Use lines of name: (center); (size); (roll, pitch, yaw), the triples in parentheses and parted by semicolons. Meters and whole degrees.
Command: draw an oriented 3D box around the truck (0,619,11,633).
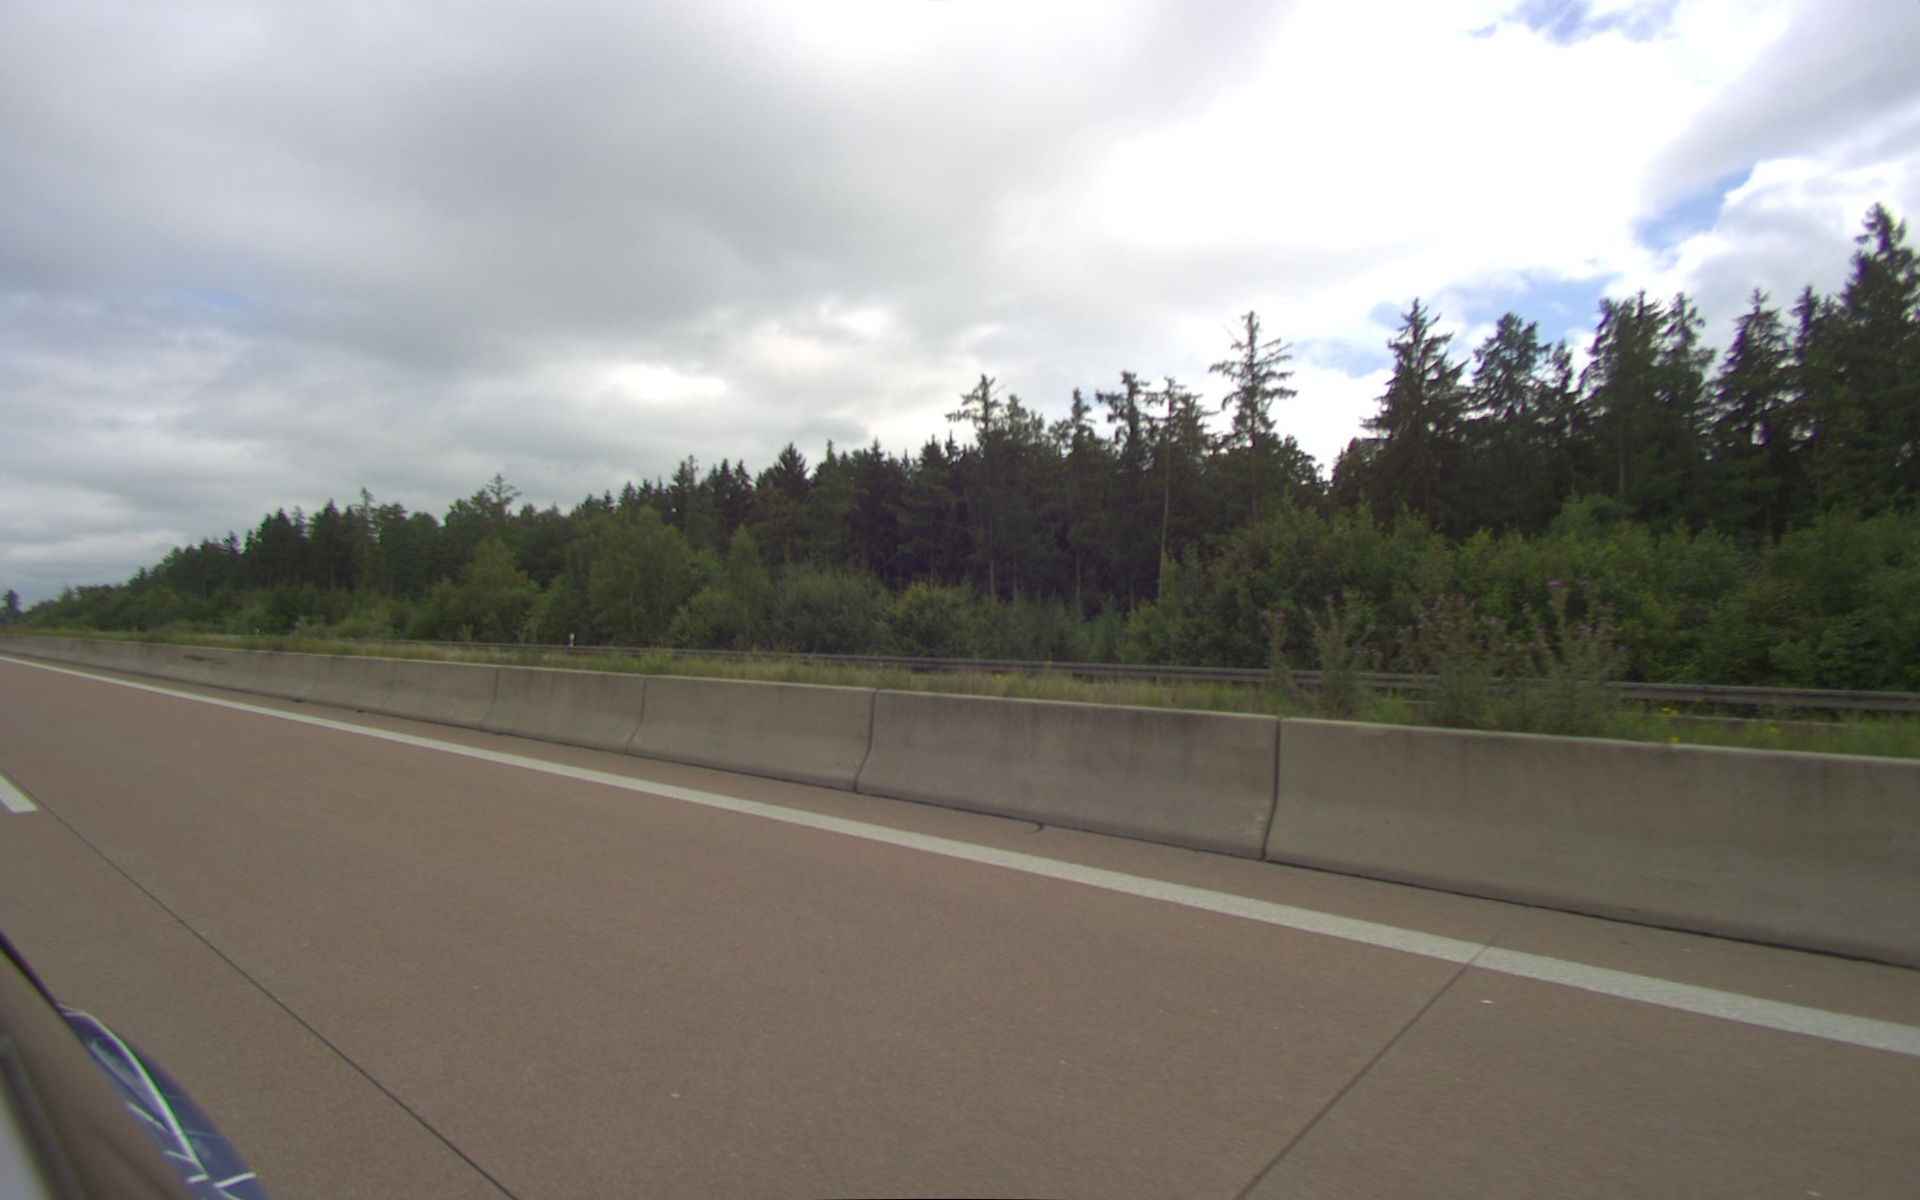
truck: (-149.320, 4.098, 157.109); (6.041, 2.178, 2.322); (-2, -1, 42)

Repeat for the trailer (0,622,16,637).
trailer: (-144.731, 4.461, 153.035); (6.187, 2.178, 2.307); (-2, -1, 42)
